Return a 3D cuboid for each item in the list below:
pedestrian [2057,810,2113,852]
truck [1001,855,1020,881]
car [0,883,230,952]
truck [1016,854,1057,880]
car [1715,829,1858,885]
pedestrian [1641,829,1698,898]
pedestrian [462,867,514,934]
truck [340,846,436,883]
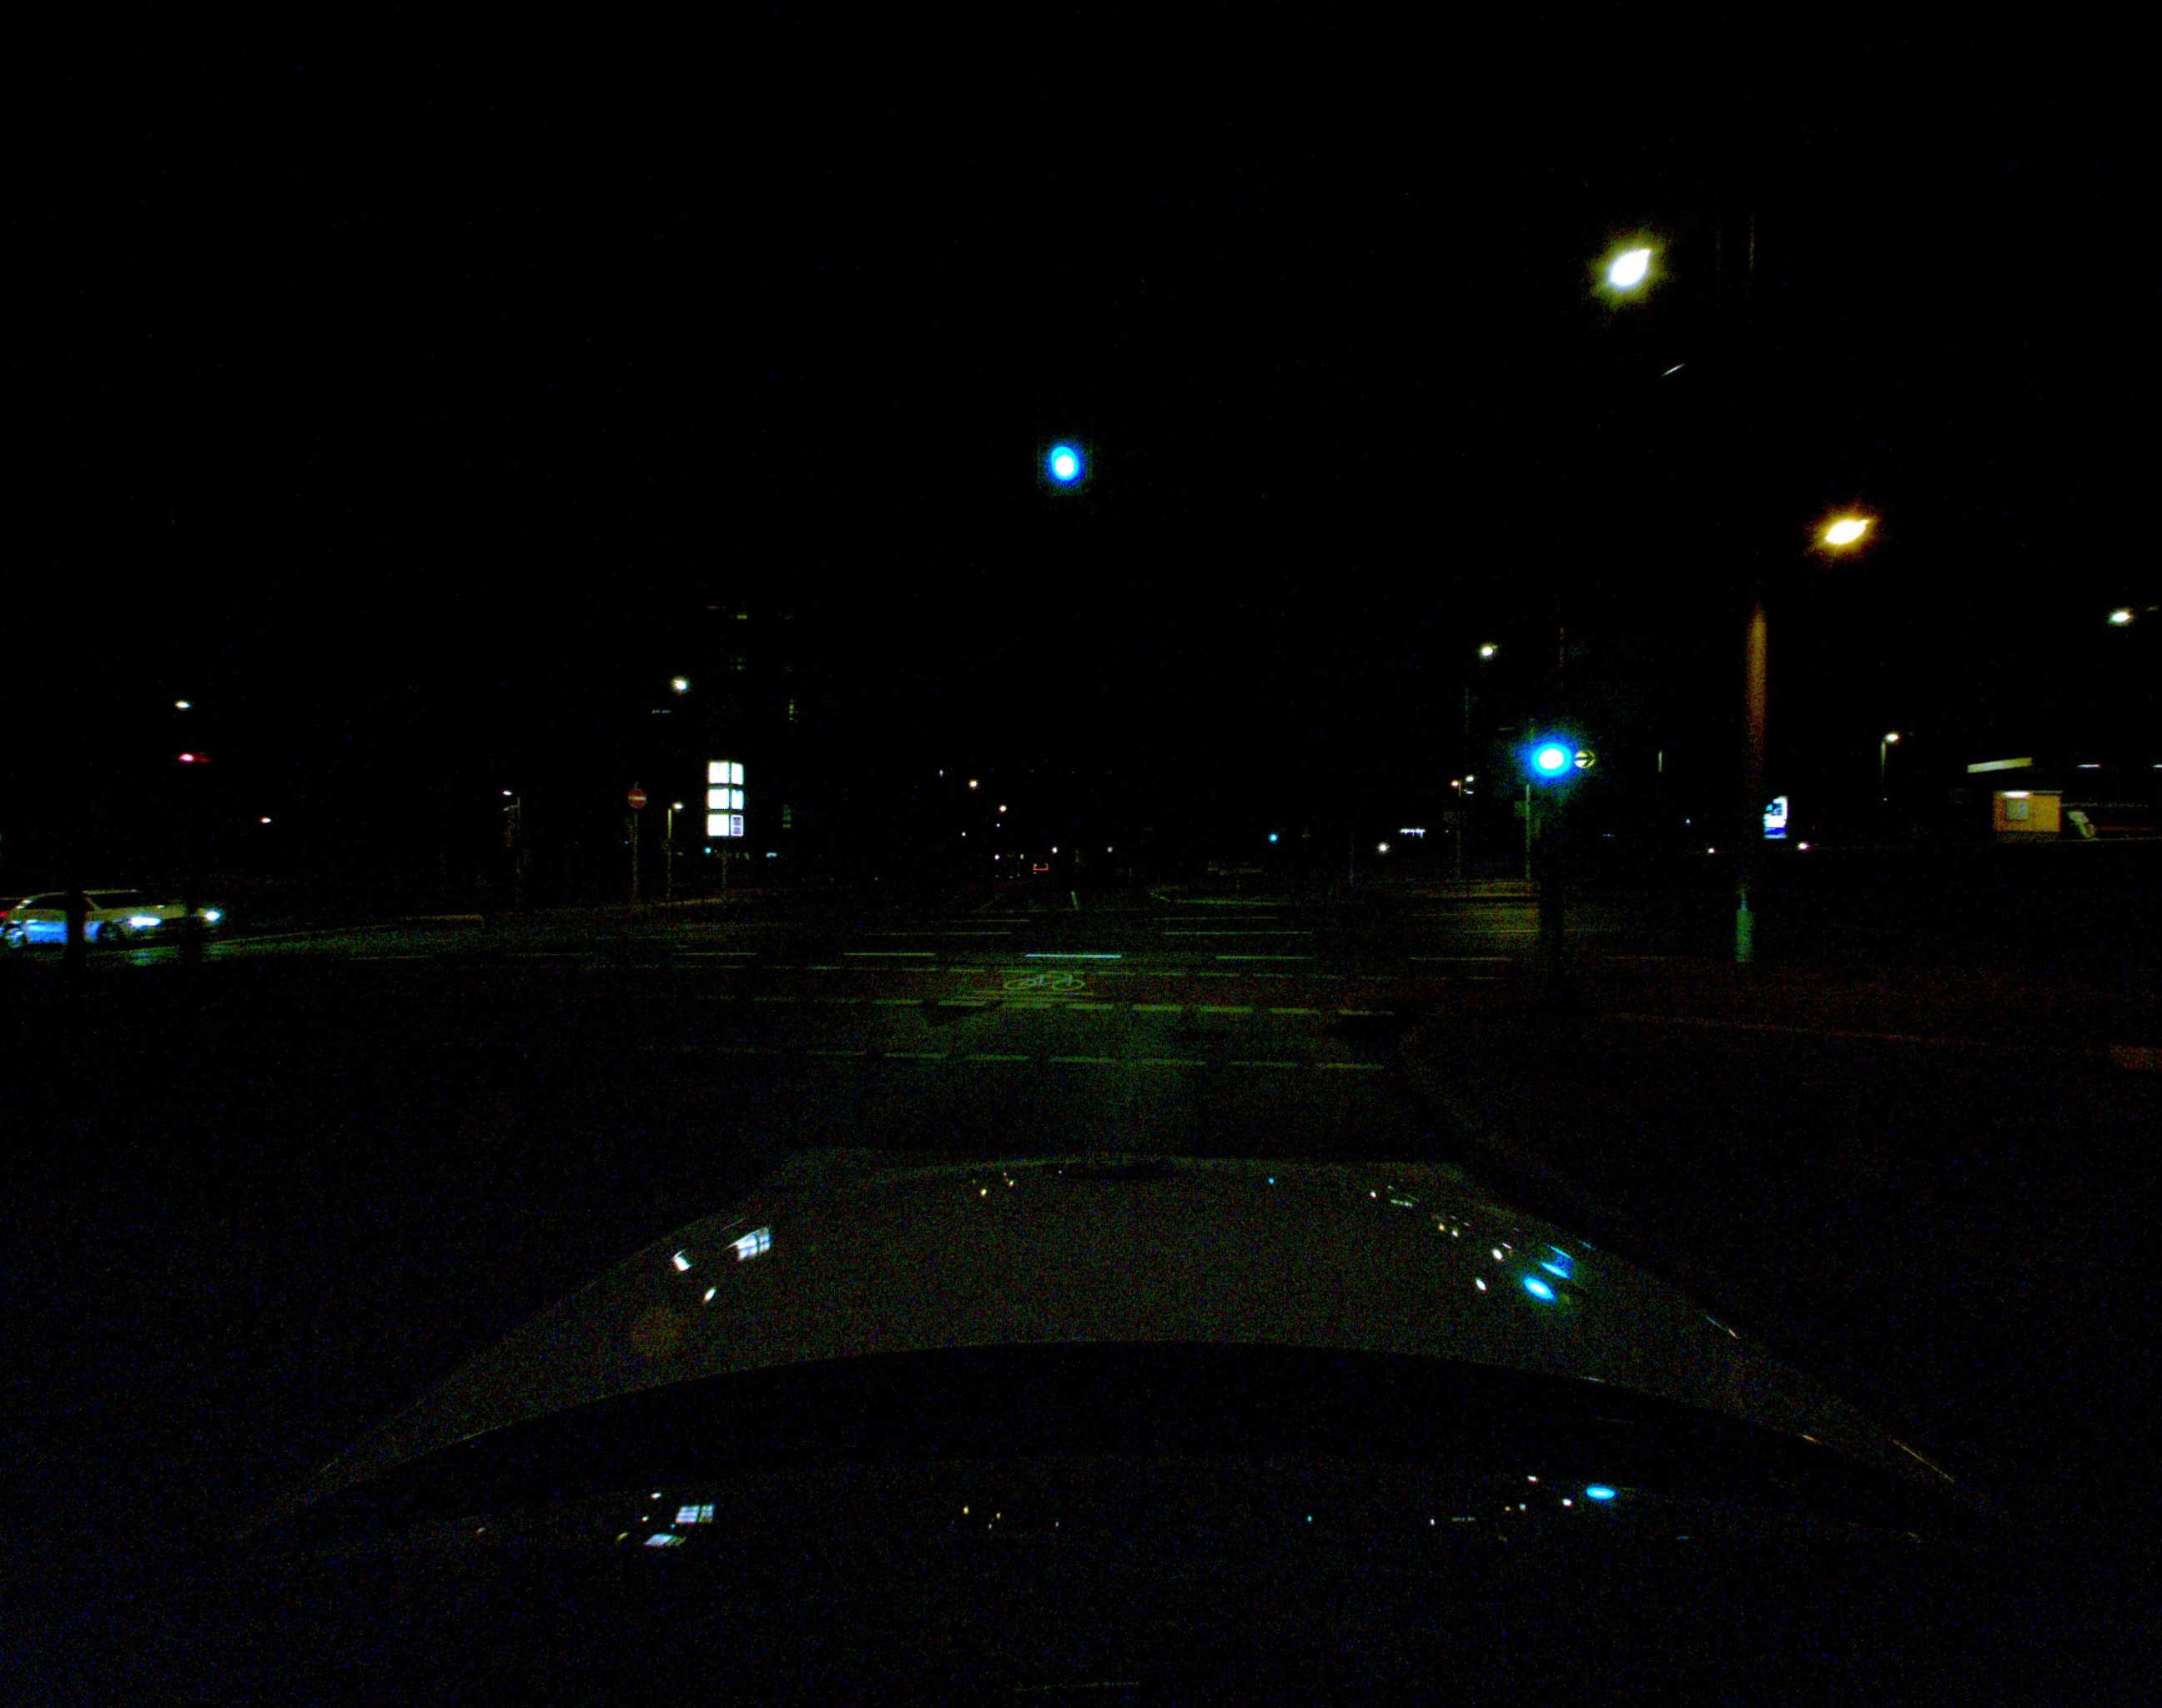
[{"bbox_3d":[38.131,-0.855,30.954,1.131,1.500,1.084,-3,-2,41],"label":"pedestrian"},{"bbox_3d":[-10.377,2.086,119.055,2.580,3.707,5.723,0,-1,-7],"label":"truck"},{"bbox_3d":[-24.369,1.573,20.553,4.164,1.502,1.822,-2,1,7],"label":"car"},{"bbox_3d":[-8.394,2.398,150.846,4.835,4.547,12.591,0,-1,-17],"label":"truck"},{"bbox_3d":[29.298,0.137,33.934,3.966,2.014,2.003,-3,-2,6],"label":"car"},{"bbox_3d":[15.432,0.256,21.377,0.752,1.745,0.833,-4,-2,1],"label":"pedestrian"},{"bbox_3d":[-14.886,1.156,20.459,0.667,1.634,0.862,0,-1,-3],"label":"pedestrian"},{"bbox_3d":[-59.952,0.914,70.568,5.873,3.088,2.915,0,-1,3],"label":"truck"}]
